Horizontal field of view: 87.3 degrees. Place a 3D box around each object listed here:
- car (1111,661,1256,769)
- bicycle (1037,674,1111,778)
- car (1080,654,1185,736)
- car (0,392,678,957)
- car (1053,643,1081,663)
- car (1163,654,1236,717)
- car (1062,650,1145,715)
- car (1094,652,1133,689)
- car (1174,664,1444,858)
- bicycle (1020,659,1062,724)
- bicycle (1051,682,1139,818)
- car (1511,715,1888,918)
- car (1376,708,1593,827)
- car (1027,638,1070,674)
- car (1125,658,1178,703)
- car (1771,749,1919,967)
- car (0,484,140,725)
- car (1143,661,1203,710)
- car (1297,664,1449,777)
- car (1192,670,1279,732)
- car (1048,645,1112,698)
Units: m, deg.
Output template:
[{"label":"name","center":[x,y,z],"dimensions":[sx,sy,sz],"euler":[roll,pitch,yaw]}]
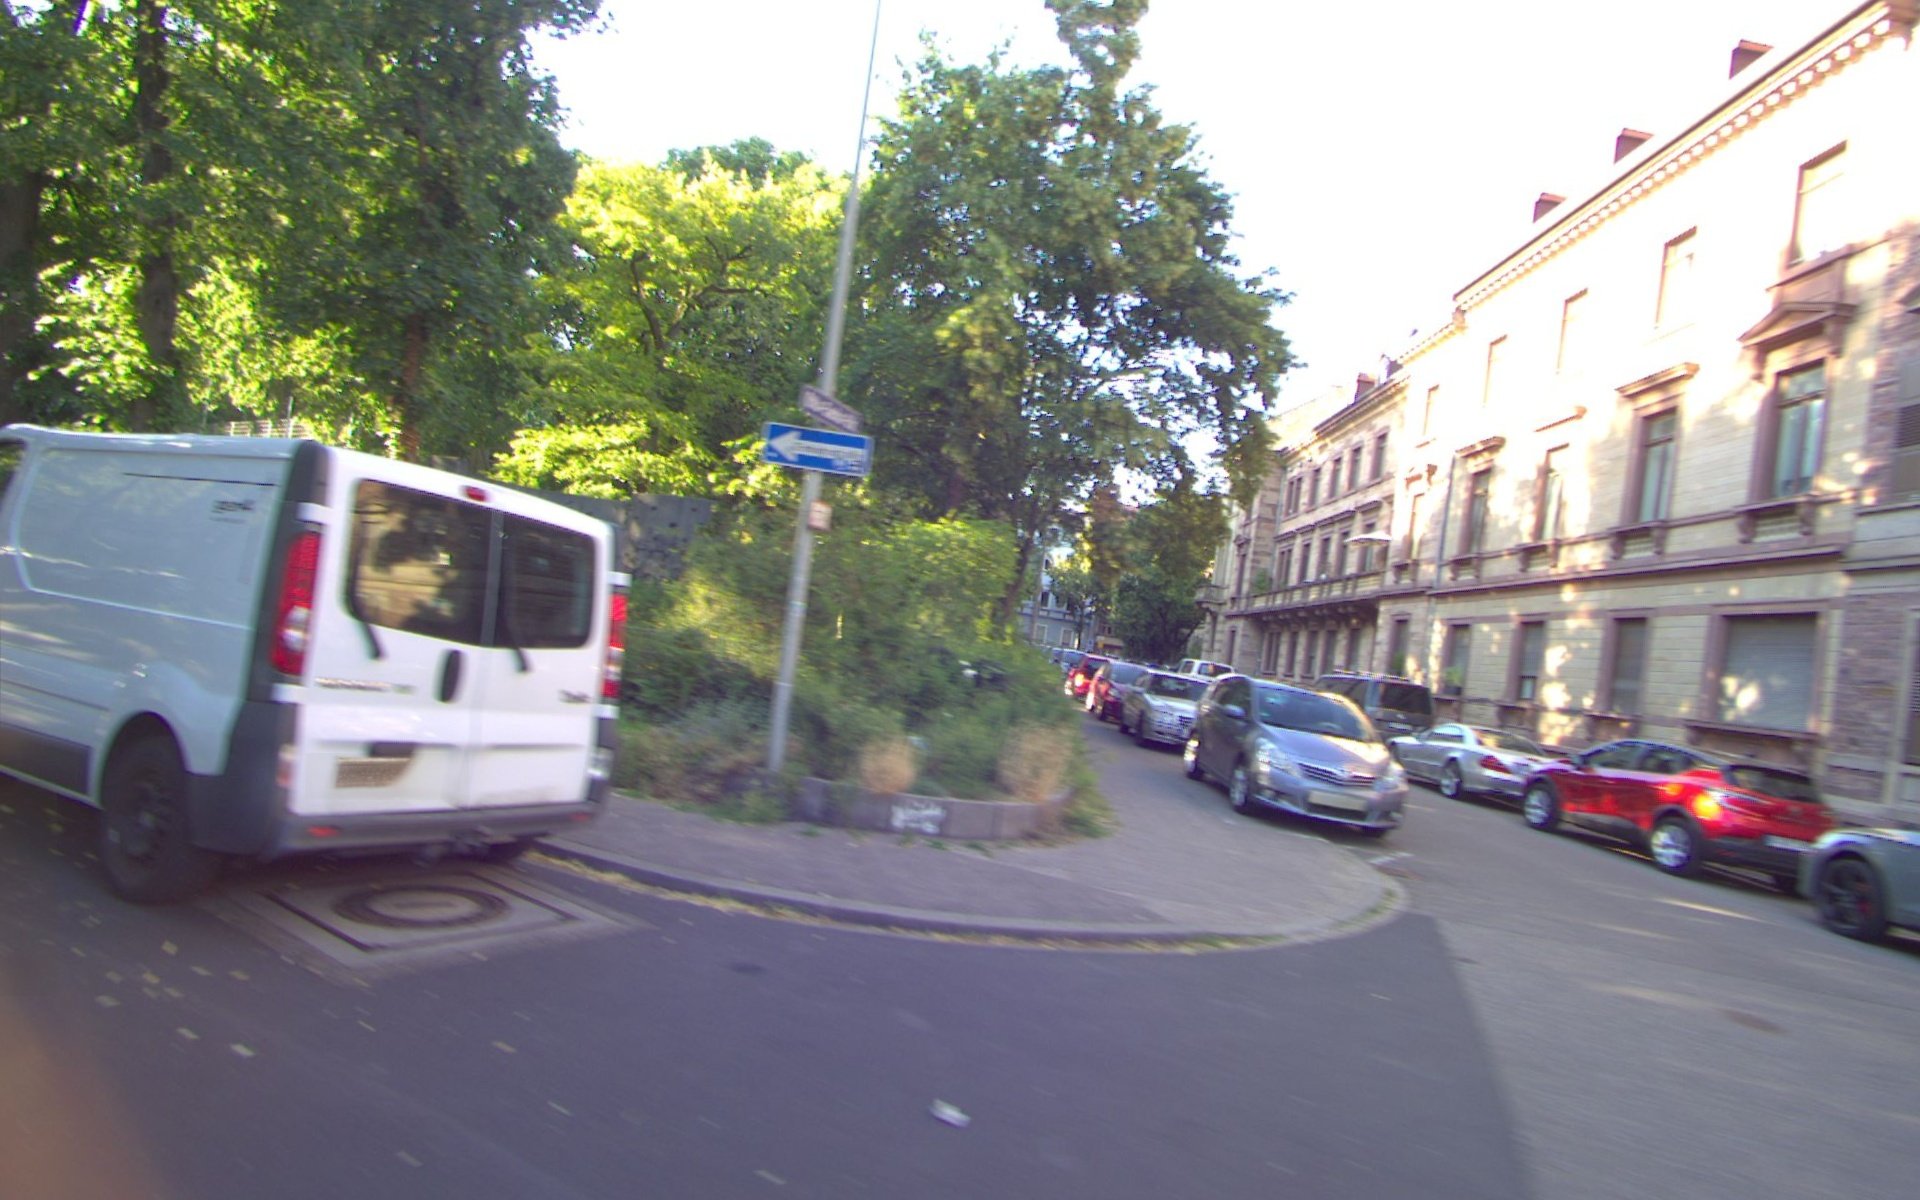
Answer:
[{"label":"car","center":[4.193,2.128,19.525],"dimensions":[1.799,1.462,3.934],"euler":[11,-2,2]},{"label":"bicycle","center":[1.491,1.632,13.572],"dimensions":[0.587,1.114,2.629],"euler":[8,-2,1]},{"label":"car","center":[4.203,2.293,25.097],"dimensions":[1.799,1.494,3.934],"euler":[11,-2,2]},{"label":"car","center":[-4.102,0.130,5.571],"dimensions":[4.577,2.026,1.950],"euler":[7,-2,27]},{"label":"car","center":[10.933,5.411,103.294],"dimensions":[1.965,1.701,4.003],"euler":[10,-4,-4]},{"label":"car","center":[9.752,3.437,41.287],"dimensions":[1.771,2.095,3.958],"euler":[11,-2,1]},{"label":"car","center":[4.314,2.462,30.814],"dimensions":[1.799,1.516,3.934],"euler":[11,-2,2]},{"label":"car","center":[10.267,4.674,67.432],"dimensions":[1.771,2.039,3.958],"euler":[11,-2,1]},{"label":"car","center":[4.179,1.859,12.894],"dimensions":[1.799,1.632,4.295],"euler":[11,-2,2]},{"label":"bicycle","center":[1.589,1.781,20.089],"dimensions":[0.587,1.114,2.630],"euler":[8,-2,3]},{"label":"bicycle","center":[1.394,1.531,10.854],"dimensions":[0.587,1.114,2.630],"euler":[8,-2,3]},{"label":"car","center":[9.410,2.665,13.296],"dimensions":[1.772,1.631,3.956],"euler":[11,-2,-1]},{"label":"car","center":[9.423,2.955,18.495],"dimensions":[1.771,1.360,3.958],"euler":[11,-2,1]},{"label":"car","center":[4.709,2.956,53.812],"dimensions":[1.799,1.516,3.934],"euler":[11,-2,2]},{"label":"car","center":[9.965,4.185,52.624],"dimensions":[1.771,1.858,3.958],"euler":[11,-2,1]},{"label":"car","center":[9.318,2.472,8.048],"dimensions":[1.799,1.742,4.547],"euler":[11,-2,2]},{"label":"car","center":[-8.236,-0.167,7.748],"dimensions":[3.648,1.656,1.575],"euler":[7,-2,29]},{"label":"car","center":[9.930,3.961,47.189],"dimensions":[1.771,1.777,3.958],"euler":[11,-2,1]},{"label":"car","center":[9.805,2.784,24.260],"dimensions":[1.771,2.095,3.958],"euler":[11,-2,1]},{"label":"car","center":[9.652,3.501,35.570],"dimensions":[1.771,1.640,3.958],"euler":[11,-2,1]},{"label":"car","center":[4.464,2.650,38.032],"dimensions":[1.799,1.516,3.934],"euler":[11,-2,2]}]
